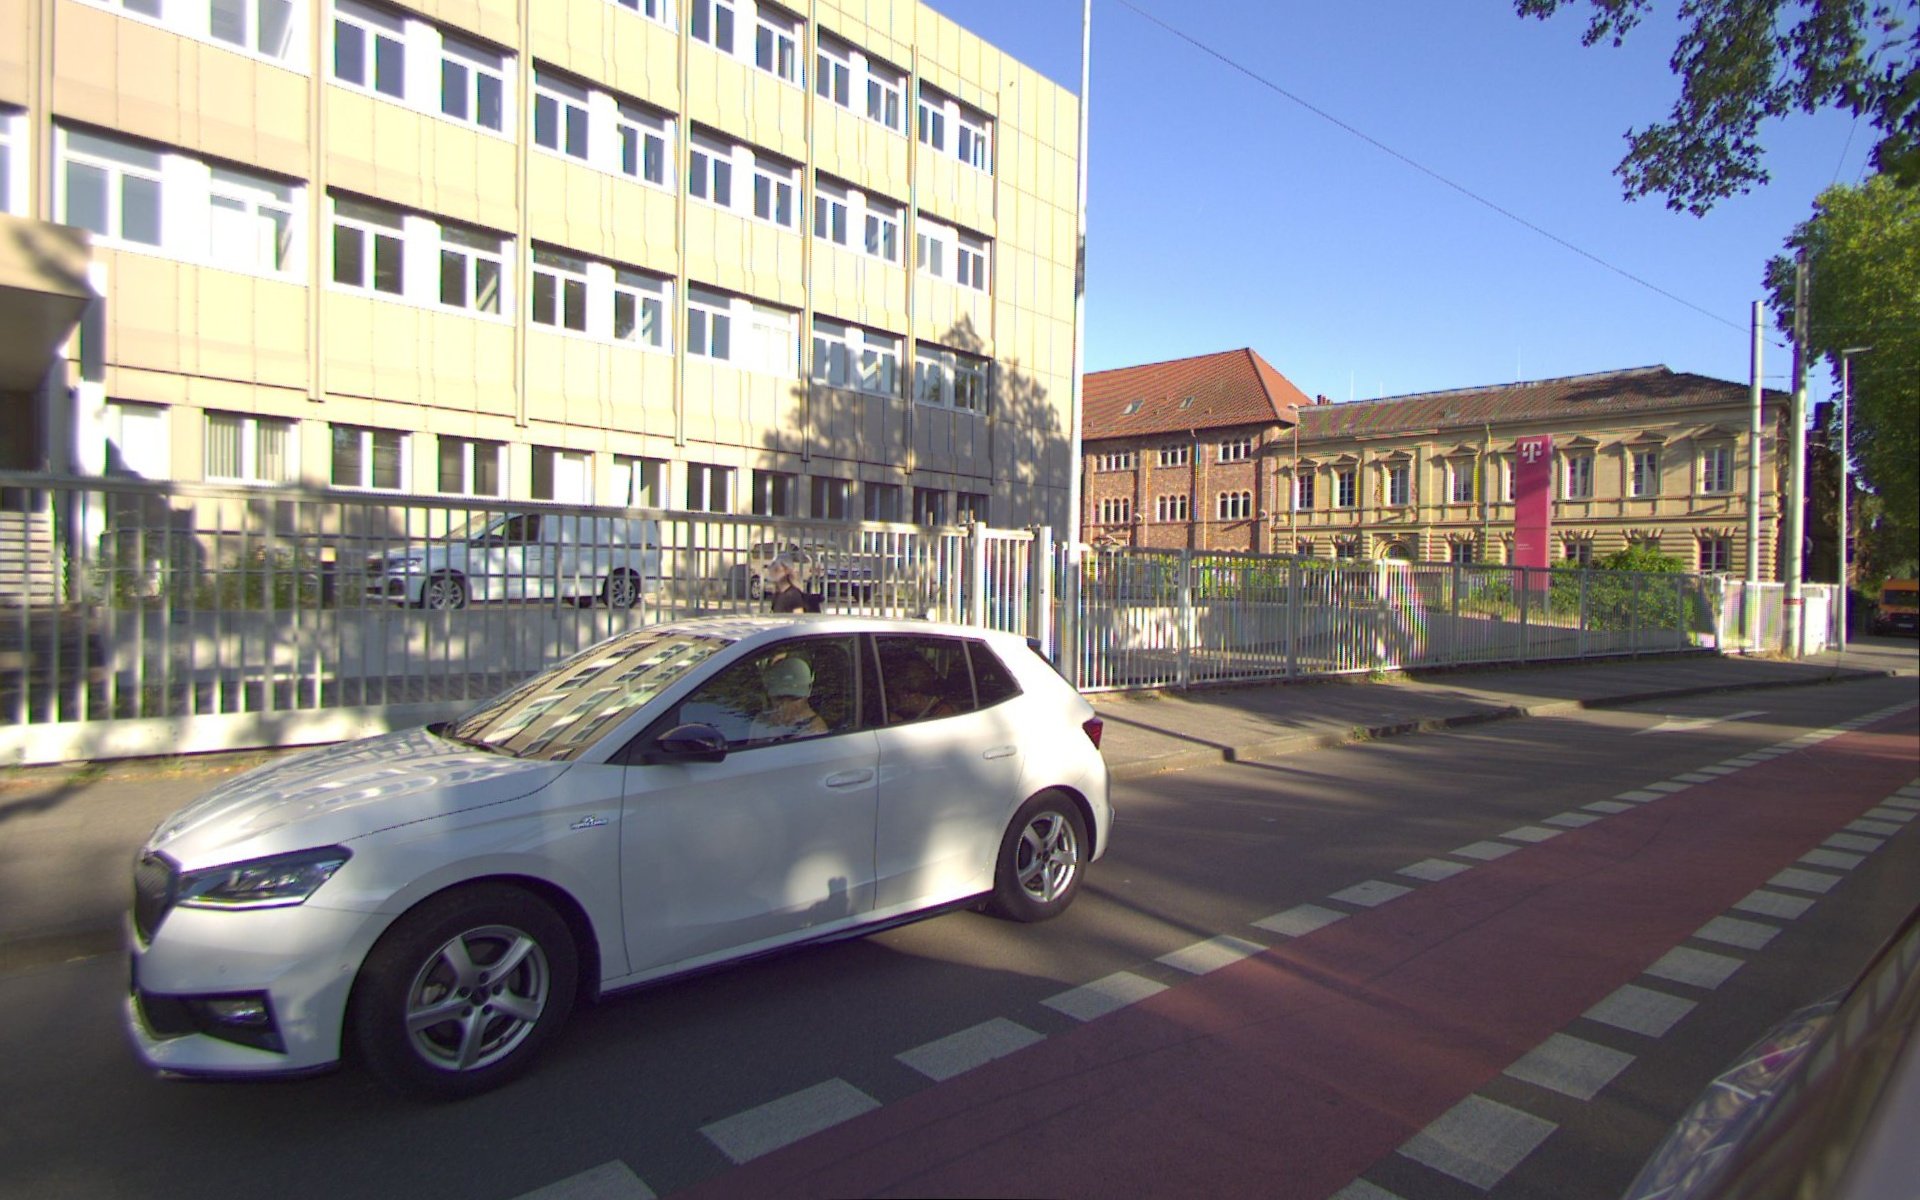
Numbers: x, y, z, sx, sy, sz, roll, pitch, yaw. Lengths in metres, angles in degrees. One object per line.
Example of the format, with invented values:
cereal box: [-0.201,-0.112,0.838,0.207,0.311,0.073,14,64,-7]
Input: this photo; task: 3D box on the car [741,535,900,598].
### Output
car: [-3.929,-0.925,27.997,4.563,1.601,1.968,2,2,44]

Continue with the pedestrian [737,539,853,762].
pedestrian: [-1.397,0.398,8.582,0.757,1.784,0.592,0,1,-41]

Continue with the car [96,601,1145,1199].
car: [-1.105,0.722,4.404,4.005,1.406,1.703,0,0,-42]

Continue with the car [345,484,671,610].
car: [-7.590,-0.826,17.333,1.994,1.865,4.709,2,2,44]

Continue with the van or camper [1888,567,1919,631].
van or camper: [41.136,-0.066,43.245,1.994,2.626,5.537,0,0,44]
